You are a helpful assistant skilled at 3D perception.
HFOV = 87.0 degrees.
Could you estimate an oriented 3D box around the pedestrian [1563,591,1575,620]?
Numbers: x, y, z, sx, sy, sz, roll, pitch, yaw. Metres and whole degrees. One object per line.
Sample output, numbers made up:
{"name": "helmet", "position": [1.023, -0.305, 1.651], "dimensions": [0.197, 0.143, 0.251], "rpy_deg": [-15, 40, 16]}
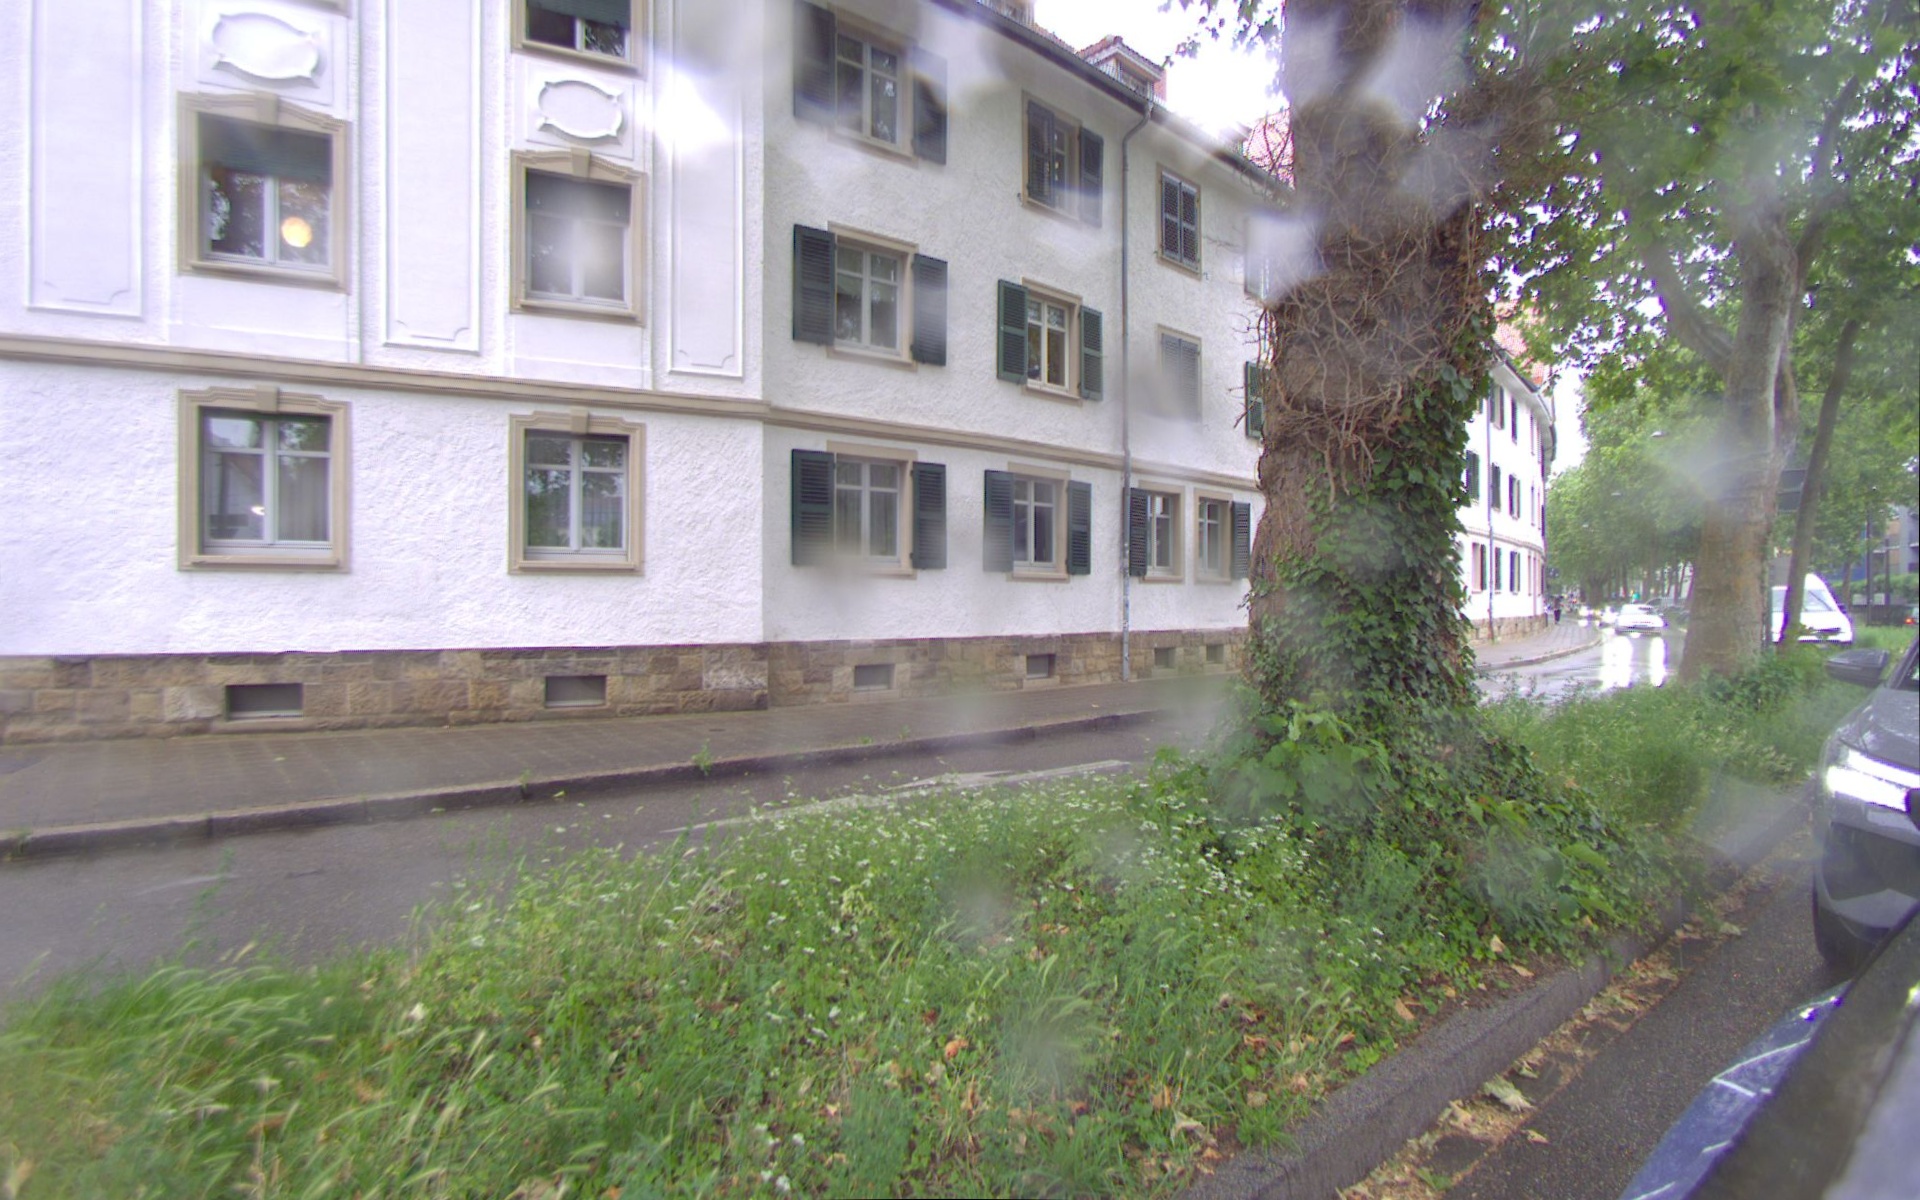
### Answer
{"name": "pedestrian", "position": [39.188, 0.345, 65.150], "dimensions": [0.668, 1.845, 0.672], "rpy_deg": [0, 0, 31]}

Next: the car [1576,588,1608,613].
{"name": "car", "position": [56.873, 0.053, 91.080], "dimensions": [1.983, 2.038, 3.961], "rpy_deg": [5, 3, 28]}

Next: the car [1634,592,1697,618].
{"name": "car", "position": [55.910, 0.368, 80.309], "dimensions": [3.969, 2.039, 1.977], "rpy_deg": [0, -1, 32]}

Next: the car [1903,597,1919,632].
{"name": "car", "position": [41.310, 0.614, 42.514], "dimensions": [1.705, 1.478, 3.707], "rpy_deg": [0, 0, 30]}

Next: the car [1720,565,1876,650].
{"name": "car", "position": [24.672, 0.191, 30.057], "dimensions": [2.173, 2.292, 5.367], "rpy_deg": [0, 0, 24]}

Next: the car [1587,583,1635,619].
{"name": "car", "position": [40.360, 0.042, 62.821], "dimensions": [1.983, 2.038, 3.961], "rpy_deg": [5, 3, 28]}

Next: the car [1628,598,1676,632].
{"name": "car", "position": [33.555, 0.672, 49.140], "dimensions": [1.819, 1.545, 3.952], "rpy_deg": [0, 1, 33]}

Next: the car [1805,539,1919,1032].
{"name": "car", "position": [5.145, 0.616, 4.325], "dimensions": [4.039, 1.662, 1.913], "rpy_deg": [0, 0, -44]}
